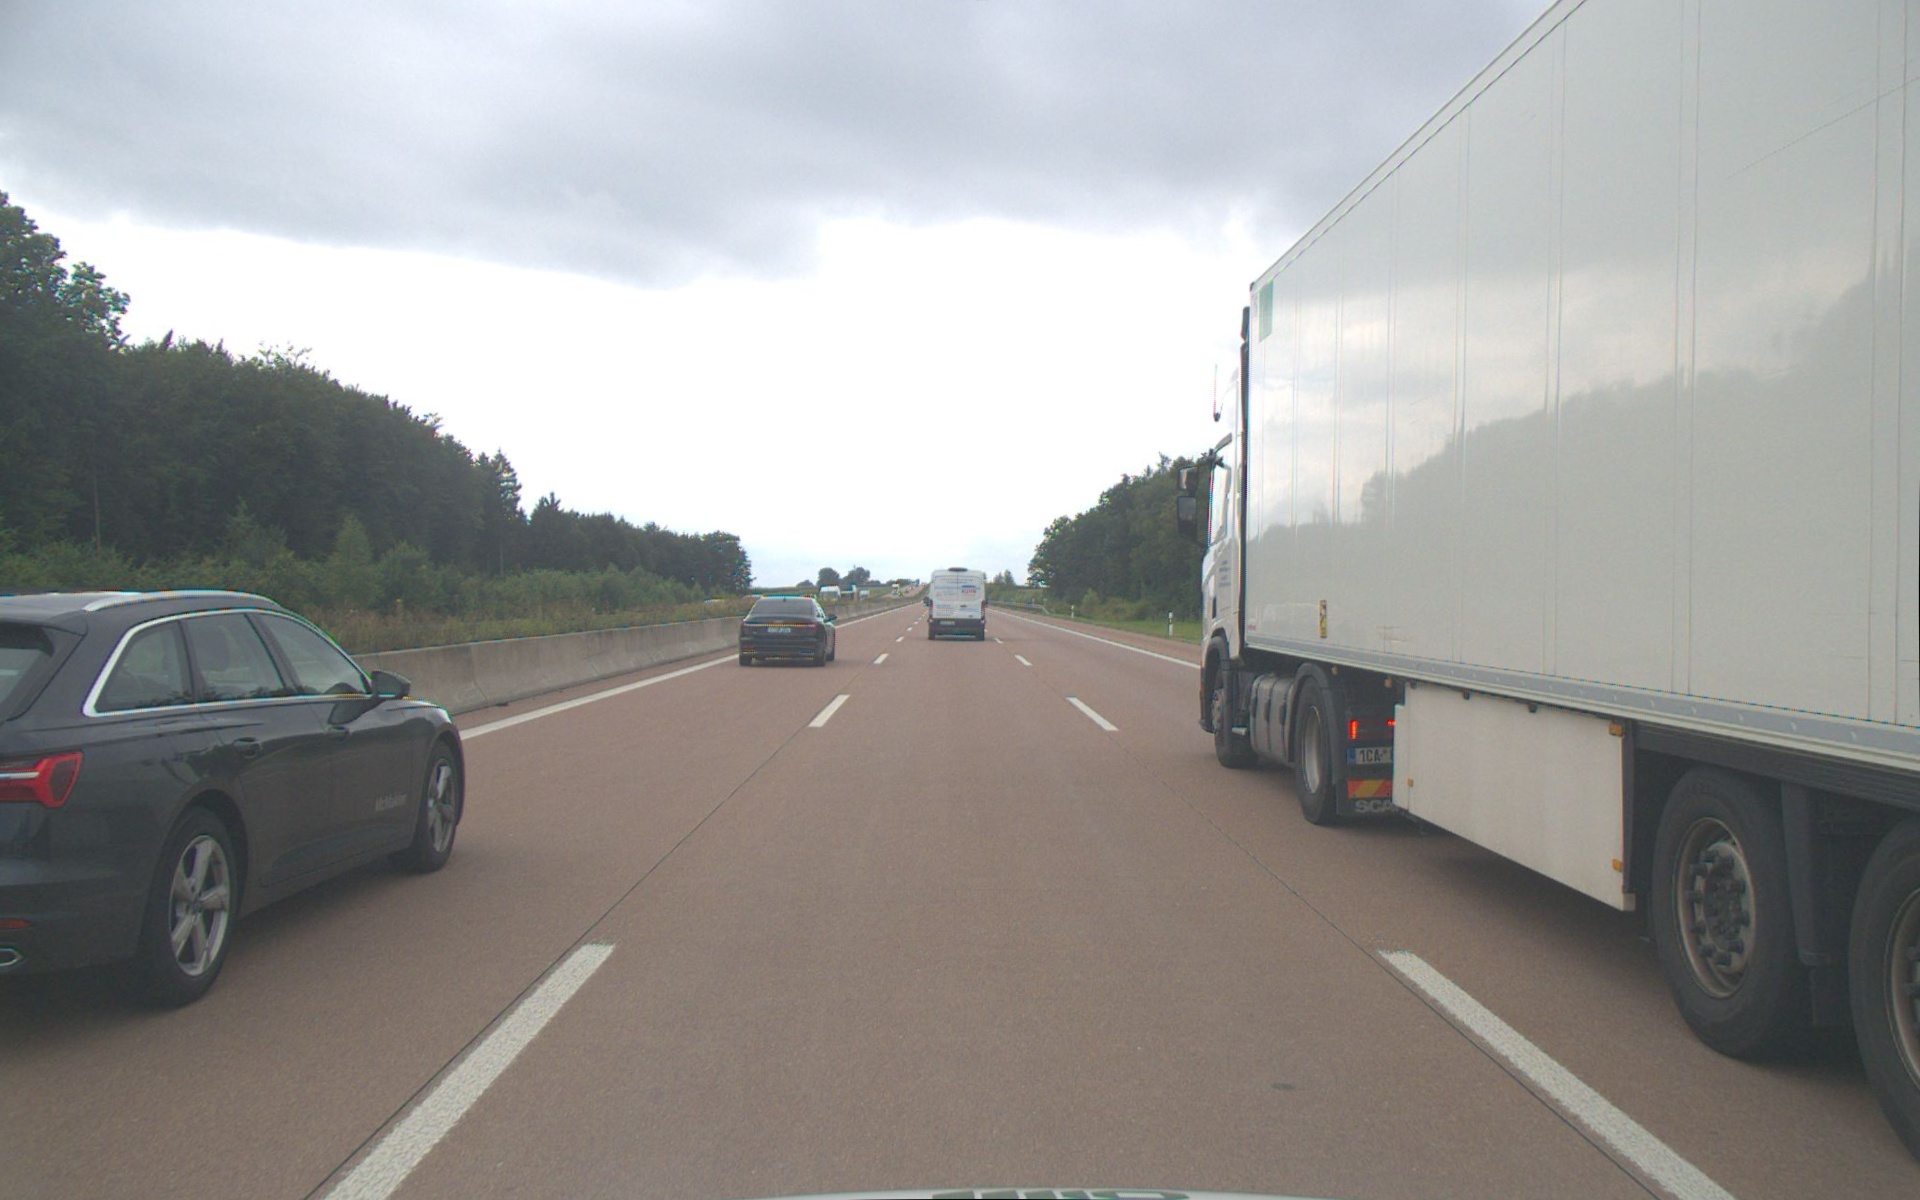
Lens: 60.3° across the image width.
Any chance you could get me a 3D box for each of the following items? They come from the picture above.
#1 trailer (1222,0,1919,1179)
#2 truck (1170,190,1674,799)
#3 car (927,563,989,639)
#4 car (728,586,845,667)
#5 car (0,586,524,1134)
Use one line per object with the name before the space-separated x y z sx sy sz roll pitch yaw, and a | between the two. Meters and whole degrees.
trailer | 3.798 -0.729 7.353 2.862 4.369 13.610 0 0 -1
truck | 3.670 -0.761 14.580 2.862 4.369 5.333 0 0 -1
car | -0.090 -0.010 59.750 2.094 2.551 7.131 0 1 0
car | -3.726 0.517 36.475 2.043 1.577 5.673 1 1 -1
car | -3.651 0.704 7.334 2.017 1.517 5.452 1 0 -1
